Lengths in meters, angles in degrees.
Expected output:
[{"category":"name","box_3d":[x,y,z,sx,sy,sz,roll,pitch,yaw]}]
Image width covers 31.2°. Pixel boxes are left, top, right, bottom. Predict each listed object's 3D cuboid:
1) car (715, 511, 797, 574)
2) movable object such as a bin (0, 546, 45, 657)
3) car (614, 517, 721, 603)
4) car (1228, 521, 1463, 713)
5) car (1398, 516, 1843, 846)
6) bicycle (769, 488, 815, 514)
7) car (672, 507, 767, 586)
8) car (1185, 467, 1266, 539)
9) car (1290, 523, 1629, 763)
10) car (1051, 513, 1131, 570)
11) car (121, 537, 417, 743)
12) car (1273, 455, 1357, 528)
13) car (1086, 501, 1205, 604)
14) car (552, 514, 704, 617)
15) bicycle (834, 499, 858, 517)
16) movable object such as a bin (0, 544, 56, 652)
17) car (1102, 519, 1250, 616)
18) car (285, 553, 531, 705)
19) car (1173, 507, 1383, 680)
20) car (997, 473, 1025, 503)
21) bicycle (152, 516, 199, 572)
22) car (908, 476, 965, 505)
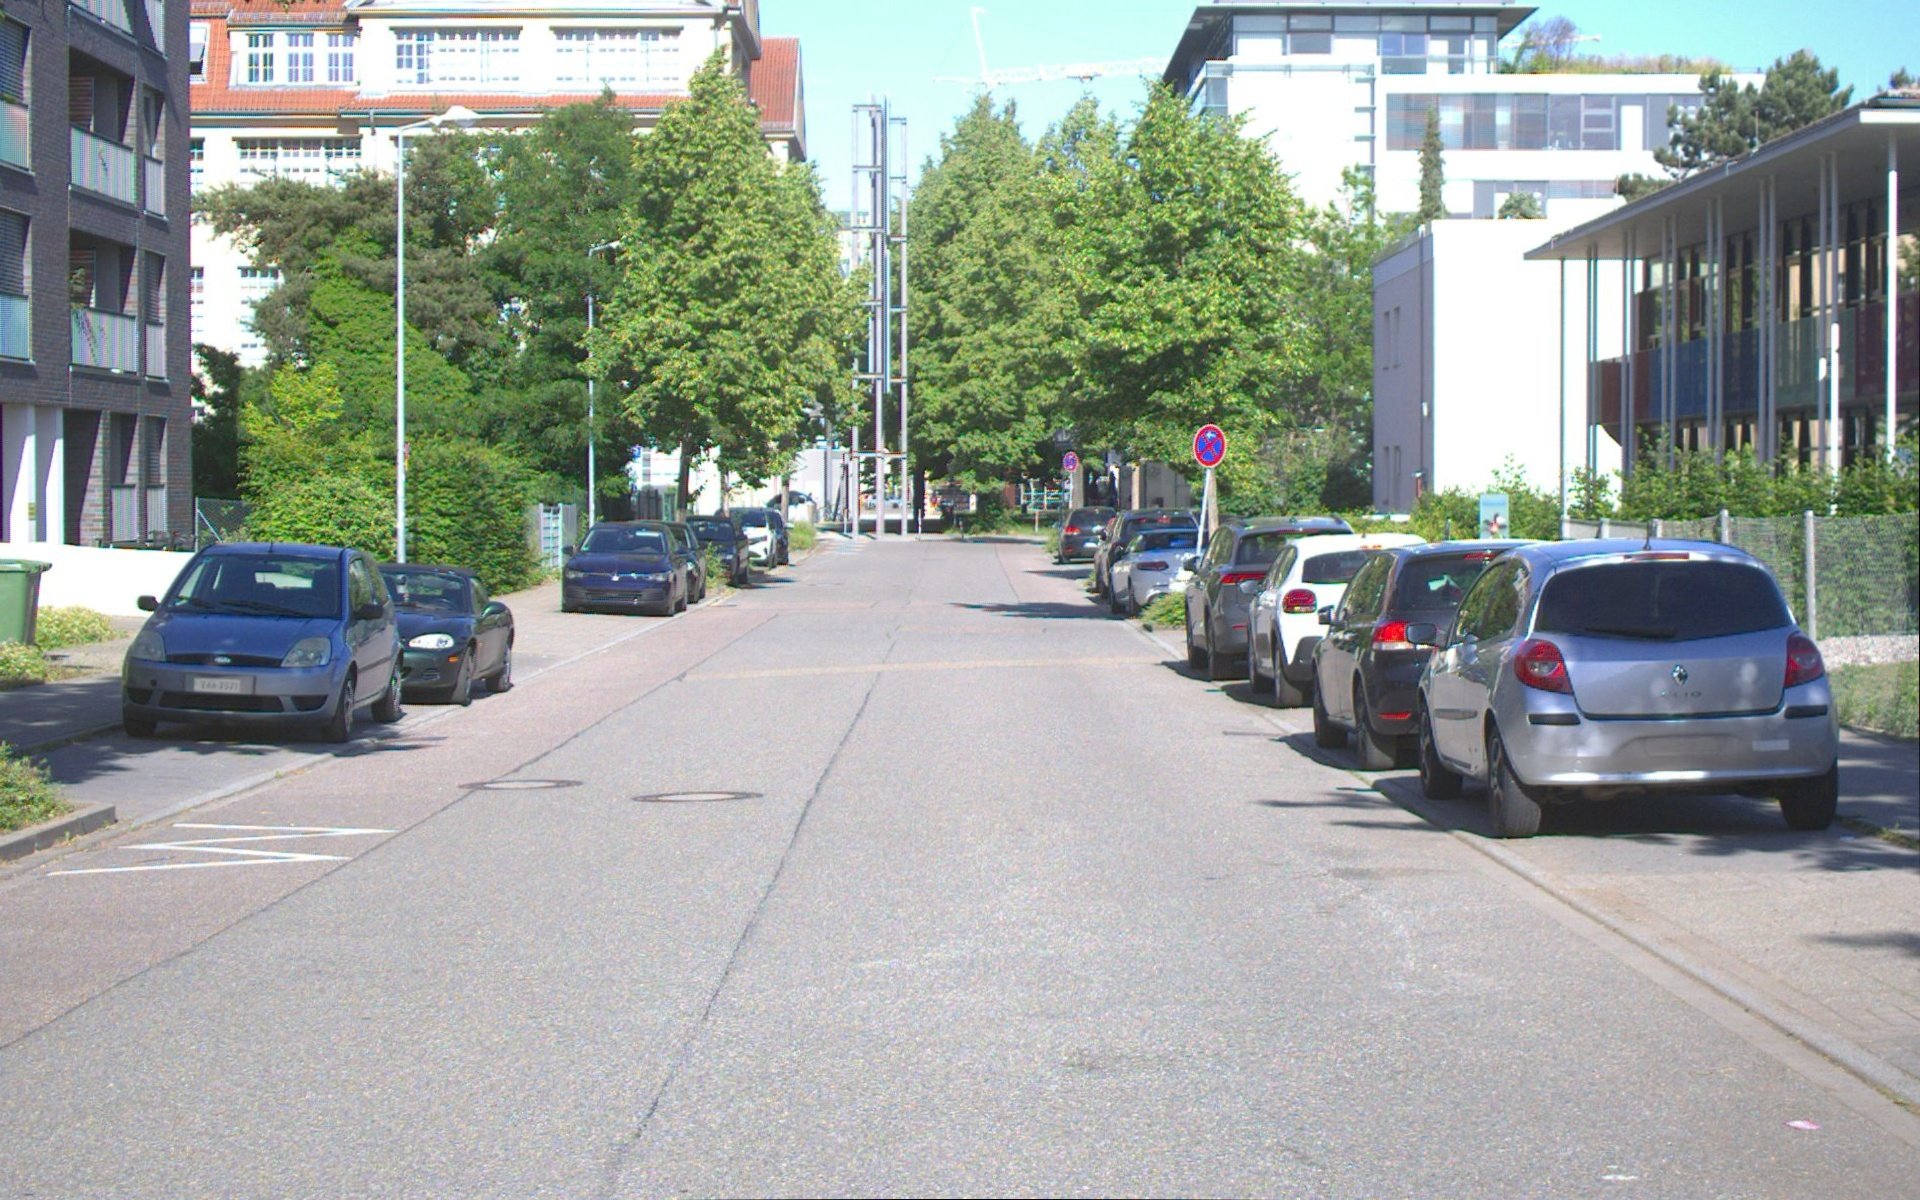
[{"category":"car","box_3d":[-5.016,-1.432,84.971,1.777,1.525,4.000,0,1,0]},{"category":"movable object such as a bin","box_3d":[-9.535,0.010,34.358,0.607,1.087,0.637,0,2,-1]},{"category":"car","box_3d":[-5.256,-0.753,62.126,1.630,1.496,3.578,0,1,0]},{"category":"car","box_3d":[3.432,0.102,31.196,1.679,1.536,3.849,0,3,0]},{"category":"car","box_3d":[3.445,0.344,18.623,1.662,1.507,4.001,0,3,1]},{"category":"bicycle","box_3d":[-5.357,-3.156,109.452,1.467,0.839,0.336,0,2,-4]},{"category":"car","box_3d":[-4.995,-1.138,71.710,1.694,1.599,3.942,0,2,0]},{"category":"car","box_3d":[7.525,-2.740,97.806,2.024,2.007,4.000,0,1,0]},{"category":"car","box_3d":[3.306,0.237,23.455,1.687,1.489,4.078,0,1,0]},{"category":"car","box_3d":[3.467,-1.559,91.428,1.993,1.481,4.000,0,1,0]},{"category":"car","box_3d":[-5.339,0.254,26.979,1.611,1.460,3.875,0,2,-1]},{"category":"car","box_3d":[10.077,-3.082,97.797,1.993,2.006,4.000,0,2,0]},{"category":"car","box_3d":[3.306,-0.879,61.887,1.821,1.713,4.120,-2,2,0]},{"category":"car","box_3d":[-5.324,-0.582,55.564,1.762,1.522,4.000,3,1,4]},{"category":"bicycle","box_3d":[-4.293,-3.462,129.379,0.373,0.681,1.080,-2,3,-36]},{"category":"movable object such as a bin","box_3d":[-9.639,-0.026,35.174,0.607,1.079,0.637,0,2,-1]},{"category":"car","box_3d":[3.407,-0.540,54.974,1.829,1.417,4.234,-3,1,-3]},{"category":"car","box_3d":[-5.114,0.233,32.267,1.599,1.213,3.875,2,2,1]},{"category":"car","box_3d":[3.296,-0.122,36.349,1.725,1.646,4.326,-2,2,-1]},{"category":"car","box_3d":[3.568,-7.872,241.623,1.993,2.006,4.001,0,3,1]},{"category":"bicycle","box_3d":[-12.553,-0.903,55.040,0.253,0.834,1.774,0,3,3]},{"category":"car","box_3d":[-1.634,-7.659,240.335,3.987,2.006,2.000,0,3,1]}]
